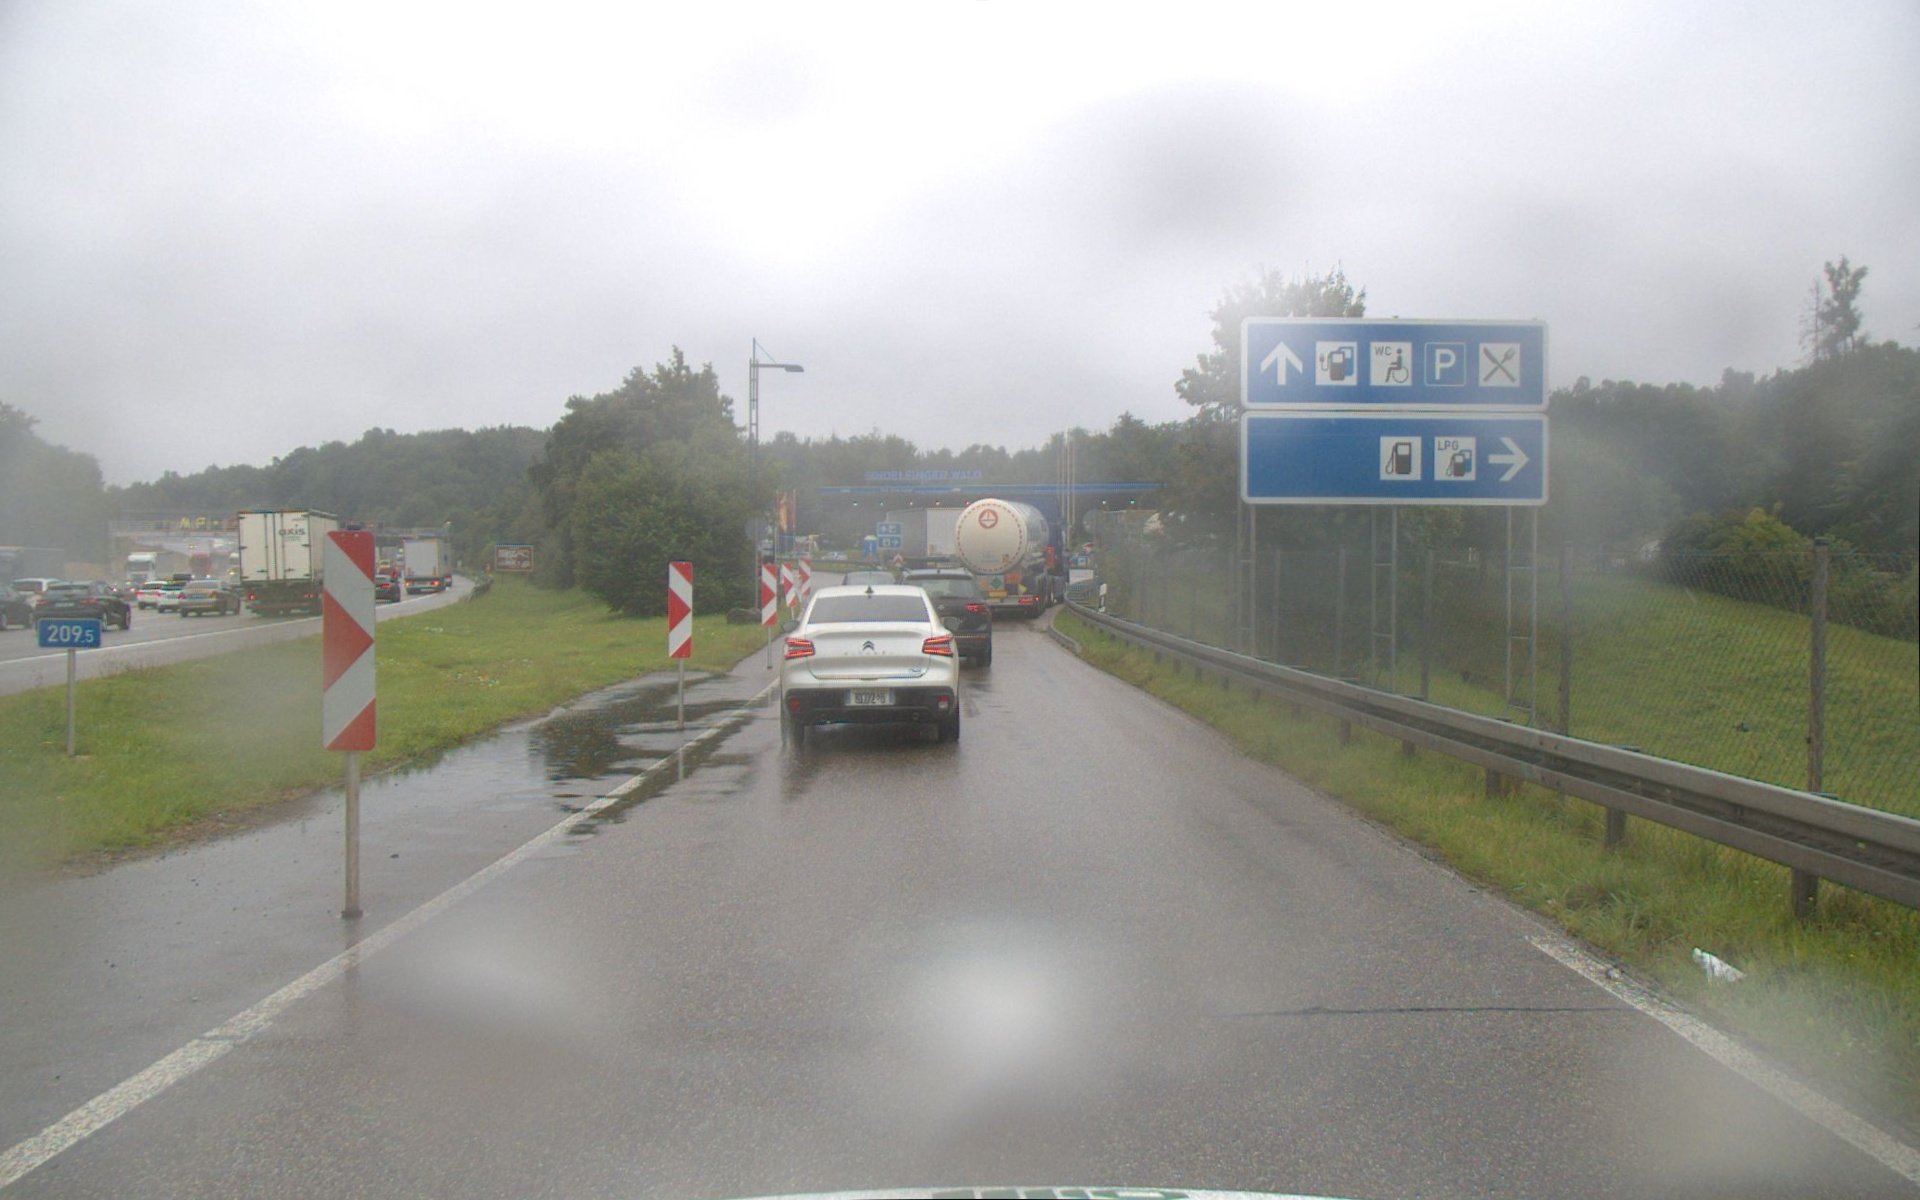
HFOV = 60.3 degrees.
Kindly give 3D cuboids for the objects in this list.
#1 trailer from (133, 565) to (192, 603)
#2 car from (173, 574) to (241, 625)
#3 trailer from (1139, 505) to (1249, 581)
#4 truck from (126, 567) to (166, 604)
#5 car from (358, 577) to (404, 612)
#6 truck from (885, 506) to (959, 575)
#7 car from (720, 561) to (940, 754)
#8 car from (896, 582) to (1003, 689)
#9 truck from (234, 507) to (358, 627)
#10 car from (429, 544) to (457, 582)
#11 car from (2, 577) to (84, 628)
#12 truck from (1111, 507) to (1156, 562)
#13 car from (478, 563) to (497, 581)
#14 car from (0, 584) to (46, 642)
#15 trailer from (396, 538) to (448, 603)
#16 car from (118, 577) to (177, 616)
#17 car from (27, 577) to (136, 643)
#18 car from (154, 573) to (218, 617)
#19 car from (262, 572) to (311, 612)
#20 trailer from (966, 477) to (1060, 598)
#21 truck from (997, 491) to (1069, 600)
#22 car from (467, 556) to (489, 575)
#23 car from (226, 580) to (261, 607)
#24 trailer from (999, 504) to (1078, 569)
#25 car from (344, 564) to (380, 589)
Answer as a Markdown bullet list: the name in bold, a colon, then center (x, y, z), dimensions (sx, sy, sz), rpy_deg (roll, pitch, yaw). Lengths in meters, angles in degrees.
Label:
- **trailer**: center (-88.649, -1.900, 184.106), dimensions (2.677, 3.599, 14.017), rpy_deg (3, 2, -13)
- **car**: center (-30.662, -0.028, 67.457), dimensions (1.758, 2.005, 4.319), rpy_deg (0, 0, -14)
- **trailer**: center (11.762, -2.866, 82.180), dimensions (2.090, 3.500, 10.241), rpy_deg (0, 2, 28)
- **truck**: center (-87.094, -1.574, 177.020), dimensions (2.667, 3.595, 4.748), rpy_deg (3, 2, -13)
- **car**: center (-31.982, -0.320, 91.411), dimensions (1.959, 1.847, 3.986), rpy_deg (1, 1, -13)
- **truck**: center (-2.491, -3.681, 102.128), dimensions (2.329, 3.941, 12.421), rpy_deg (-2, 2, -11)
- **car**: center (-1.253, 0.499, 17.017), dimensions (1.953, 1.708, 3.998), rpy_deg (-1, 1, -2)
- **car**: center (-0.198, 0.584, 29.066), dimensions (1.707, 1.696, 3.999), rpy_deg (2, 0, -1)
- **truck**: center (-26.573, -1.244, 66.772), dimensions (2.800, 4.367, 11.802), rpy_deg (-1, 0, -13)
- **car**: center (-49.807, -3.516, 159.319), dimensions (2.336, 3.546, 4.791), rpy_deg (2, 0, -18)
- **car**: center (-38.809, 0.095, 70.075), dimensions (1.959, 2.049, 3.987), rpy_deg (-2, 1, -13)
- **truck**: center (12.525, -4.753, 119.820), dimensions (2.379, 3.871, 3.995), rpy_deg (-1, 3, -7)
- **car**: center (-57.757, -3.392, 202.233), dimensions (1.964, 2.049, 3.977), rpy_deg (2, 0, -20)
- **car**: center (-30.462, 0.399, 52.137), dimensions (1.744, 1.766, 4.087), rpy_deg (0, 0, -12)
- **trailer**: center (-41.446, -2.214, 127.582), dimensions (3.493, 4.692, 12.058), rpy_deg (-2, 1, -18)
- **car**: center (-43.979, -0.209, 89.598), dimensions (1.959, 2.049, 3.986), rpy_deg (-1, 1, -13)
- **car**: center (-25.039, 0.247, 47.263), dimensions (1.745, 1.766, 3.835), rpy_deg (-1, 1, -12)
- **car**: center (-37.170, -0.255, 79.537), dimensions (1.959, 2.049, 3.986), rpy_deg (-1, 1, -13)
- **car**: center (-35.403, -0.409, 87.002), dimensions (1.961, 2.049, 3.982), rpy_deg (0, 0, -16)
- **trailer**: center (1.769, -1.882, 50.292), dimensions (1.938, 3.280, 10.331), rpy_deg (0, 2, 7)
- **truck**: center (2.552, -1.878, 56.758), dimensions (2.009, 3.592, 4.751), rpy_deg (0, 2, 8)
- **car**: center (-53.438, -3.797, 183.344), dimensions (1.964, 2.049, 3.977), rpy_deg (2, 0, -20)
- **car**: center (-49.279, -0.484, 113.824), dimensions (1.669, 1.818, 3.771), rpy_deg (0, 1, -15)
- **trailer**: center (5.295, -4.407, 114.501), dimensions (3.157, 4.261, 11.506), rpy_deg (0, 2, -9)
- **car**: center (-45.996, -1.819, 127.210), dimensions (1.958, 1.847, 3.989), rpy_deg (2, 0, -11)
